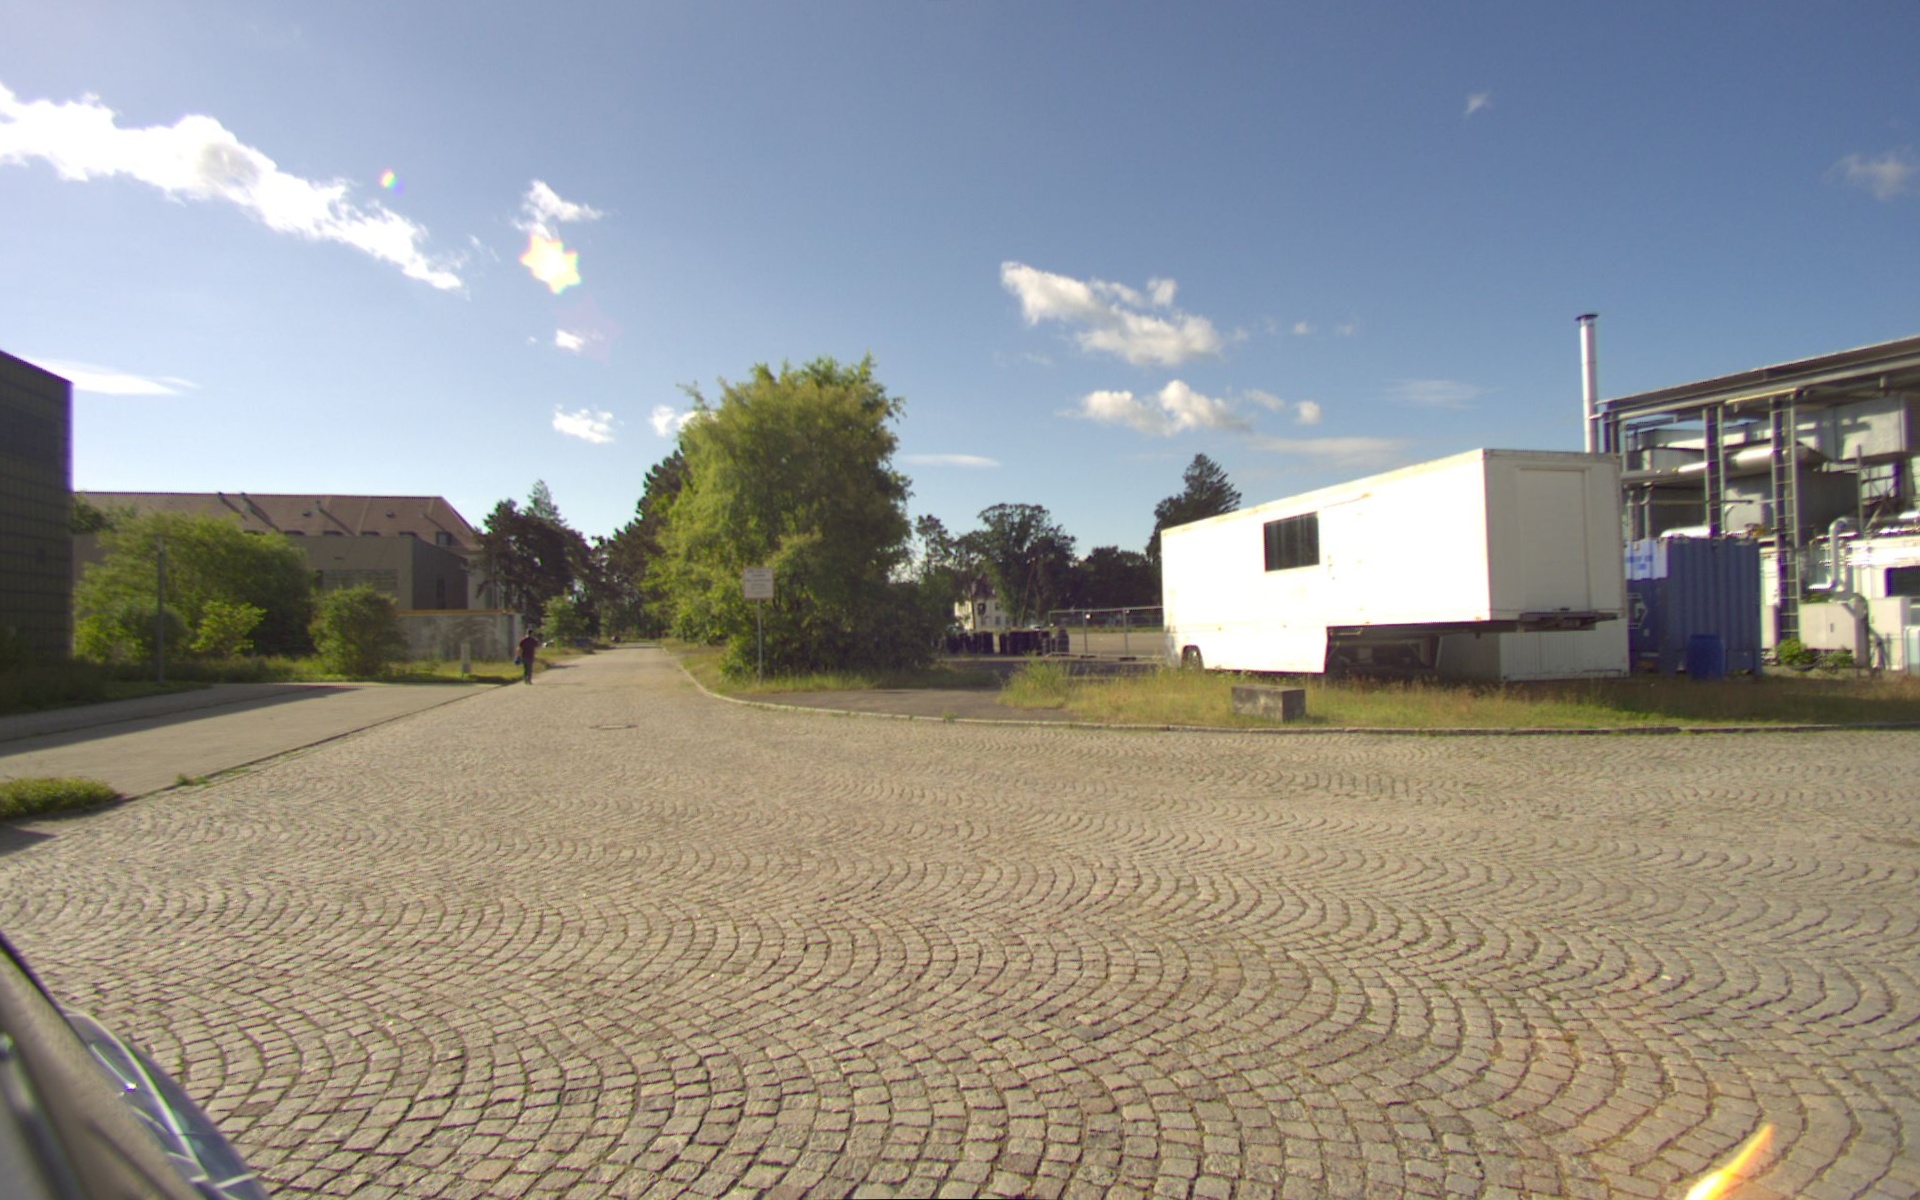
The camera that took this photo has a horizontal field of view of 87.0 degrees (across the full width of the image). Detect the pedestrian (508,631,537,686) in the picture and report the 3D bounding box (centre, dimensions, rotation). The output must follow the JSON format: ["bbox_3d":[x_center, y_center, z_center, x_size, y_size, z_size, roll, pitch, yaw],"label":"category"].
[{"bbox_3d":[-14.386,1.917,33.306,0.784,1.794,1.072,1,-3,-19],"label":"pedestrian"}]

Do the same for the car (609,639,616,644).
[{"bbox_3d":[-71.345,8.548,207.692,1.350,1.107,2.872,-1,-2,-20],"label":"car"}]

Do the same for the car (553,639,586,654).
[{"bbox_3d":[-37.513,4.448,97.160,2.861,1.269,1.292,-1,-2,-26],"label":"car"}]

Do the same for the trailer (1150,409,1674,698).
[{"bbox_3d":[7.365,-0.460,19.380,2.734,3.941,10.916,-1,-2,-15],"label":"trailer"}]
